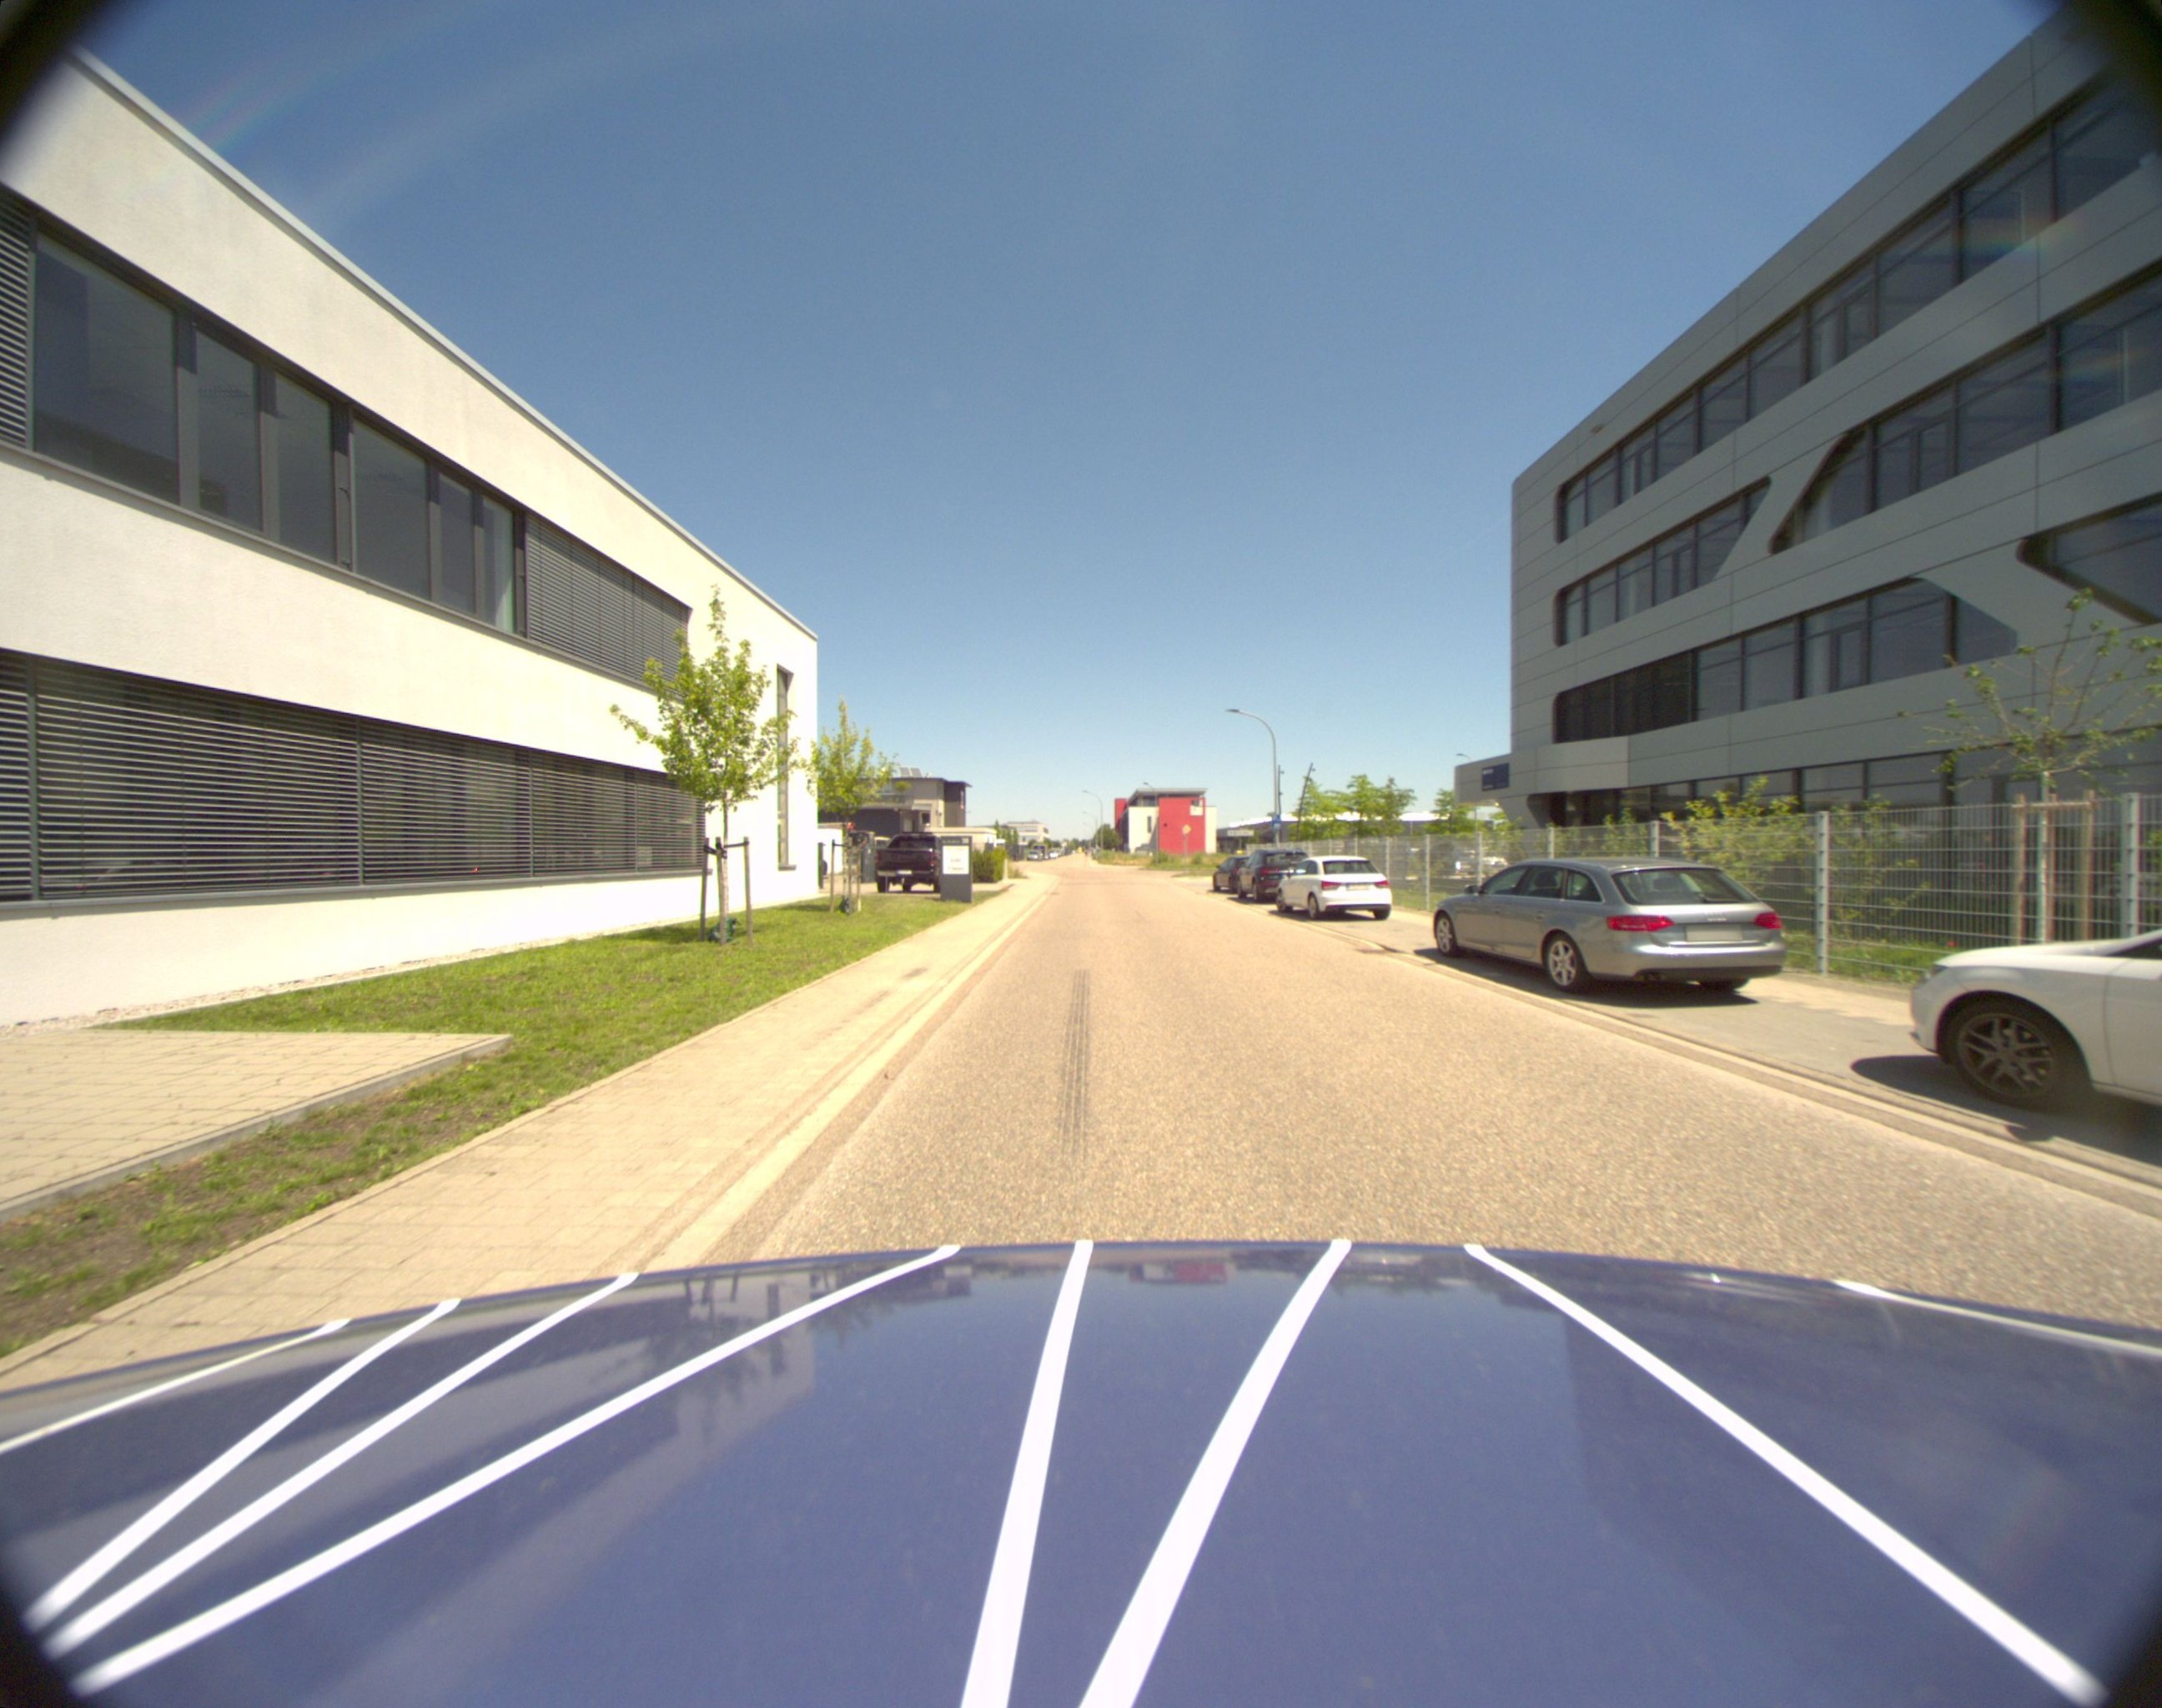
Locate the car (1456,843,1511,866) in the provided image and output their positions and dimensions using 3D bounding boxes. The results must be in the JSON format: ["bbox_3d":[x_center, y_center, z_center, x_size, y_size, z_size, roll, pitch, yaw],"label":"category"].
[{"bbox_3d":[27.601,0.075,52.193,1.610,1.467,4.116,0,-1,1],"label":"car"}]

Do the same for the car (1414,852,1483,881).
[{"bbox_3d":[19.962,0.628,41.468,1.775,1.502,4.105,0,0,0],"label":"car"}]

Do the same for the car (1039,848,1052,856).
[{"bbox_3d":[-5.823,-0.270,123.638,1.828,1.269,3.886,0,1,1],"label":"car"}]

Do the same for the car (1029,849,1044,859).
[{"bbox_3d":[-6.287,-0.012,107.516,1.828,1.269,3.886,0,1,1],"label":"car"}]

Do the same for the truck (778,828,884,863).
[{"bbox_3d":[-23.346,-0.789,71.229,8.966,3.158,2.689,-1,1,1],"label":"truck"}]

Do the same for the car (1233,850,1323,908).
[{"bbox_3d":[6.116,0.720,24.146,1.774,1.641,4.851,-1,0,2],"label":"car"}]

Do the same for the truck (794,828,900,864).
[{"bbox_3d":[-20.363,-0.701,66.474,8.354,3.005,2.625,-1,1,1],"label":"truck"}]

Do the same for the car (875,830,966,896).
[{"bbox_3d":[-5.379,0.361,26.300,1.999,2.001,5.801,0,-2,-1],"label":"car"}]

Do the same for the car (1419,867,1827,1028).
[{"bbox_3d":[5.925,0.884,9.180,1.688,1.378,4.639,-1,0,1],"label":"car"}]

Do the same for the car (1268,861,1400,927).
[{"bbox_3d":[5.884,0.865,18.168,1.704,1.378,3.936,-1,0,-2],"label":"car"}]

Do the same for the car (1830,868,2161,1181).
[{"bbox_3d":[6.082,0.850,3.072,1.707,1.435,4.439,-2,0,0],"label":"car"}]

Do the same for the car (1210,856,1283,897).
[{"bbox_3d":[6.340,0.837,29.558,1.774,1.458,4.185,-1,0,-2],"label":"car"}]
